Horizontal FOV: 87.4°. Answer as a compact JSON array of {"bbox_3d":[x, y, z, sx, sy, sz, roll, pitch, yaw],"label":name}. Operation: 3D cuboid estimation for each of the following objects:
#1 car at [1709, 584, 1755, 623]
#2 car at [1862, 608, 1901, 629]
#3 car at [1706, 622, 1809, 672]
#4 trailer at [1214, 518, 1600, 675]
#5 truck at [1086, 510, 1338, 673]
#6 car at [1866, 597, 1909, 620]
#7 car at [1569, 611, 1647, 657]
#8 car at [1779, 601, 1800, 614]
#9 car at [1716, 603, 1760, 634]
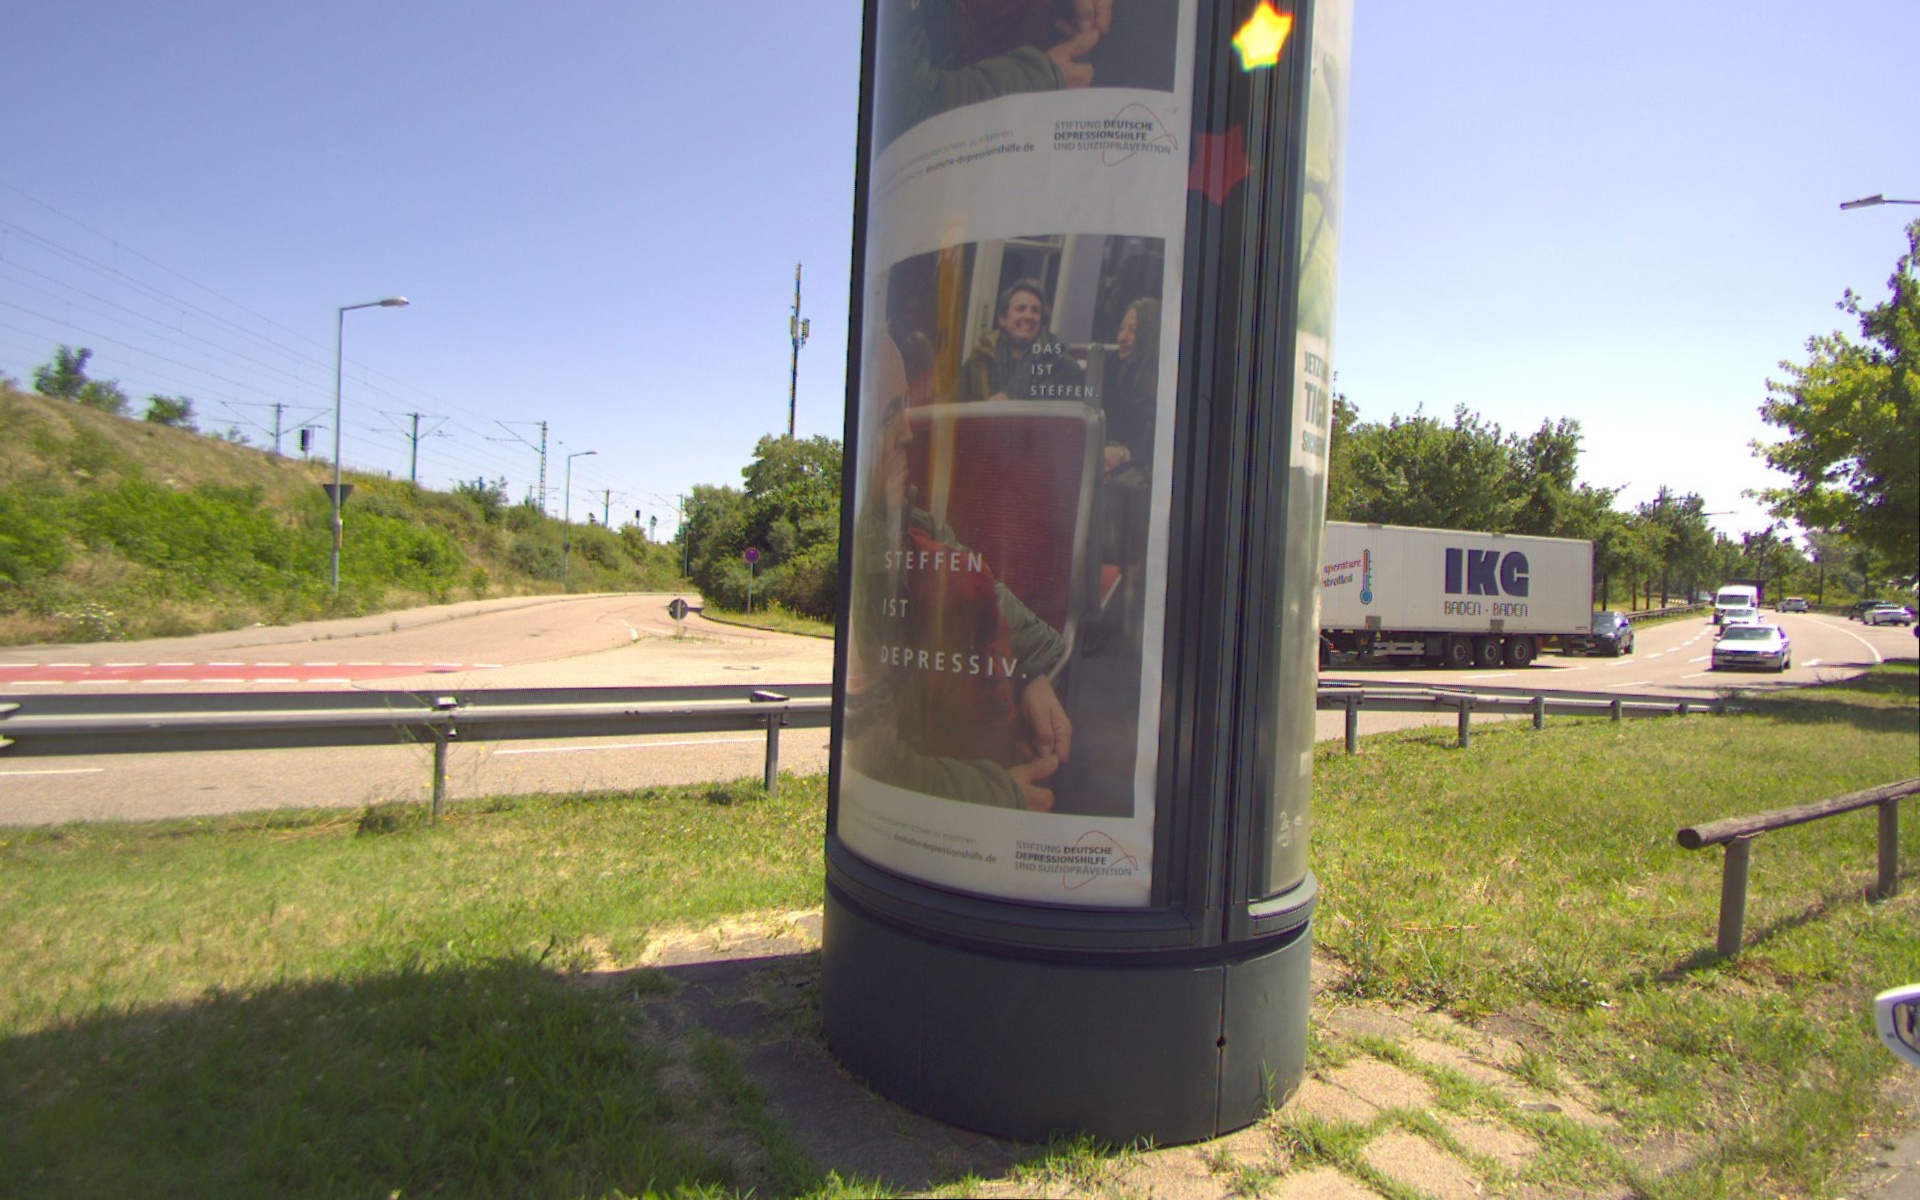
[{"bbox_3d":[53.193,0.217,69.166,2.071,2.534,5.778,0,0,42],"label":"car"},{"bbox_3d":[63.316,1.279,69.060,1.437,1.331,3.626,2,0,35],"label":"car"},{"bbox_3d":[24.511,1.431,30.823,4.185,1.421,1.621,2,-1,-39],"label":"car"},{"bbox_3d":[13.688,-0.068,30.285,12.526,4.104,3.004,0,1,-24],"label":"trailer"},{"bbox_3d":[6.830,-0.194,27.733,6.151,4.075,2.550,2,0,-6],"label":"truck"},{"bbox_3d":[63.573,0.613,68.907,1.643,1.484,3.569,2,0,35],"label":"car"},{"bbox_3d":[25.292,1.330,39.147,4.442,1.654,1.474,2,0,-43],"label":"car"},{"bbox_3d":[79.686,0.720,96.512,1.303,1.154,2.986,2,0,34],"label":"car"},{"bbox_3d":[42.542,1.039,54.927,1.616,1.588,4.051,0,-1,42],"label":"car"}]
